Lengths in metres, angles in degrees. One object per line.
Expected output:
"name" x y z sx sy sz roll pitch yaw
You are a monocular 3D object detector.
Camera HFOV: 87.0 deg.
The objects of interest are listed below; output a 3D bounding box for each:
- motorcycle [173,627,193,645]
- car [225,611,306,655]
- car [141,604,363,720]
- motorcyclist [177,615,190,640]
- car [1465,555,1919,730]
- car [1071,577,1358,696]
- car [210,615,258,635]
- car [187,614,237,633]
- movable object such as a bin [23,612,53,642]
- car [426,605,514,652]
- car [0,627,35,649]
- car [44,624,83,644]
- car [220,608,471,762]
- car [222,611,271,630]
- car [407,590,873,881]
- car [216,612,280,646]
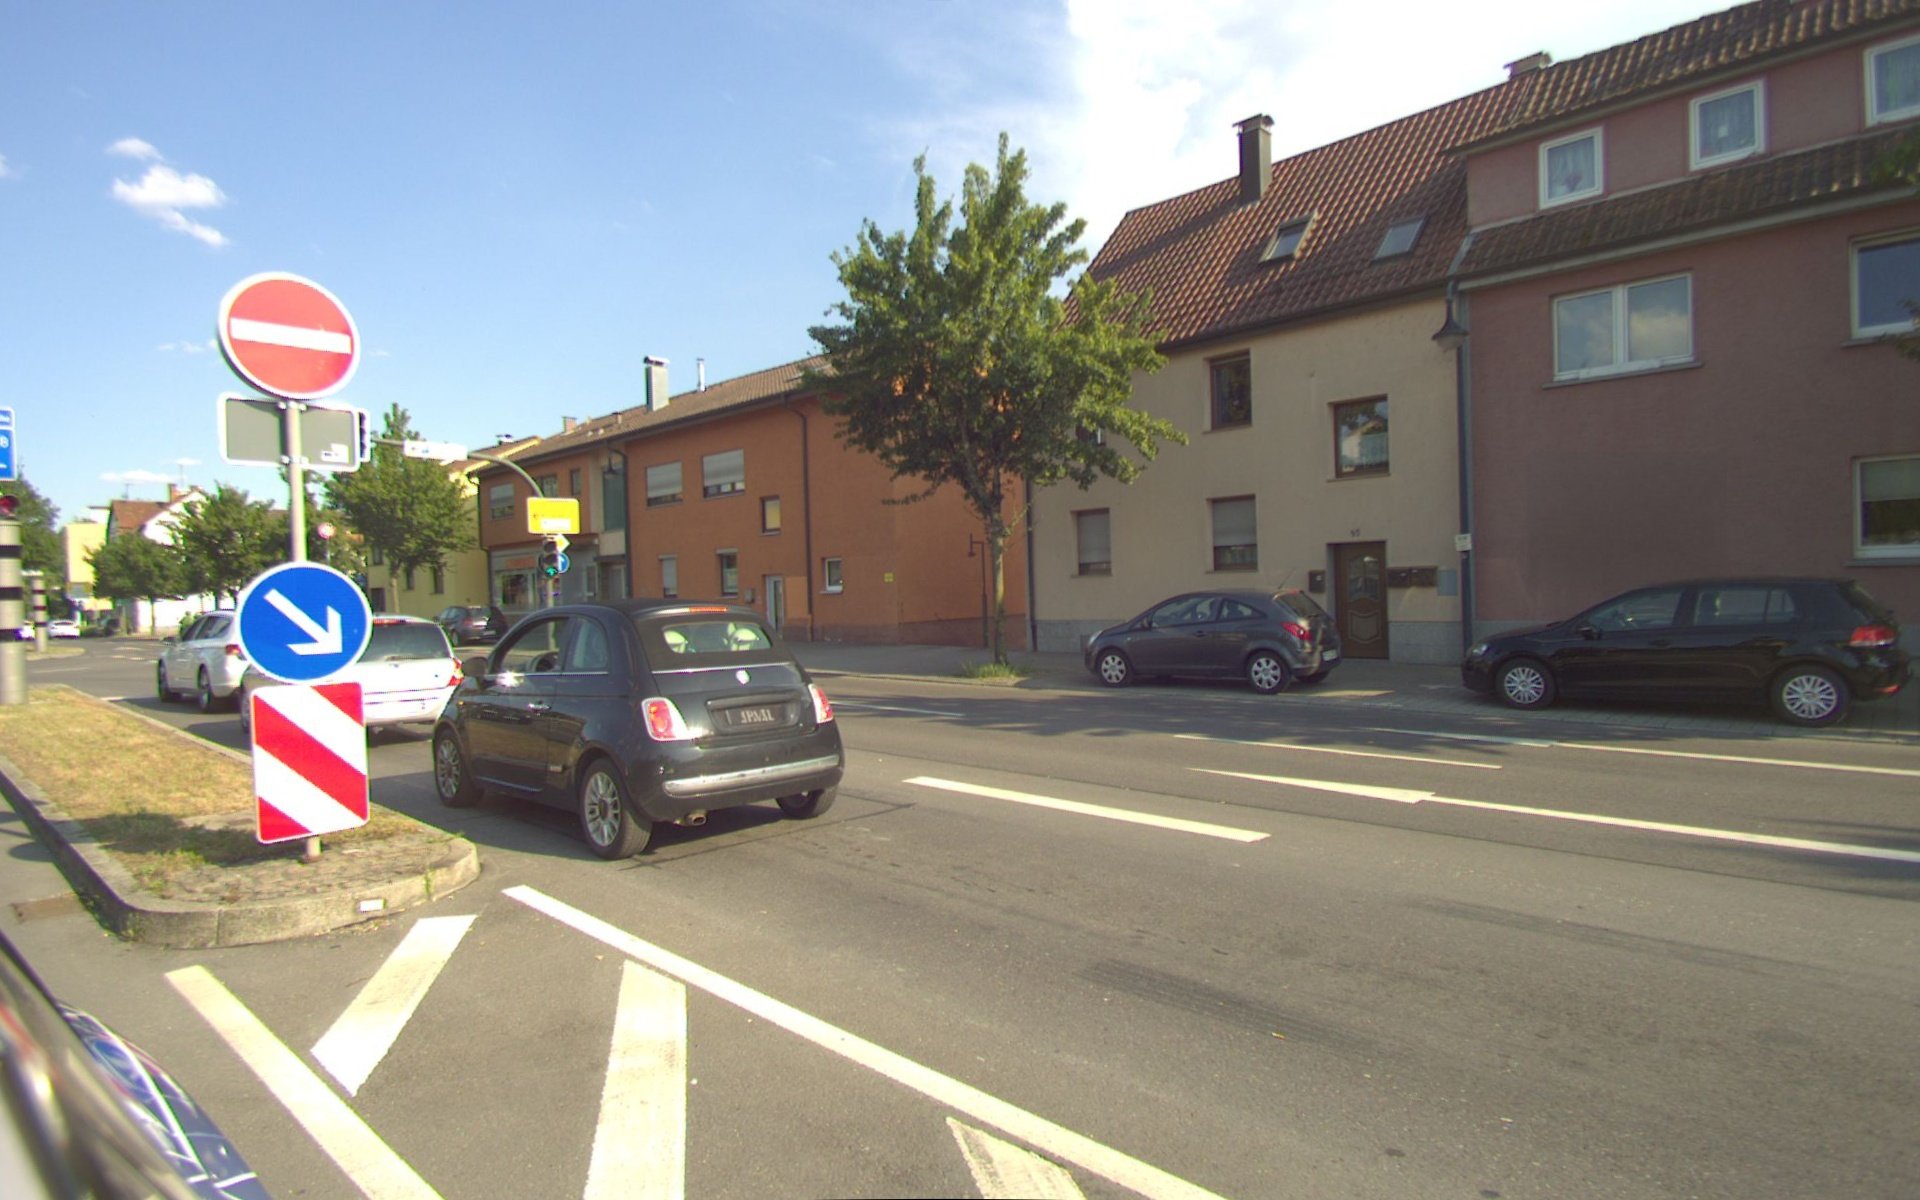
"motorcycle" -38.341 1.794 49.954 1.762 0.867 0.408 -2 0 41
"car" -27.948 1.301 40.679 4.412 1.624 1.668 -1 0 42
"car" -11.027 0.876 15.625 4.565 1.500 1.816 -2 0 42
"motorcyclist" -38.375 1.353 49.983 0.461 1.238 0.399 -2 0 39
"car" 7.972 0.393 11.210 1.647 1.543 3.905 -5 2 -44
"car" 3.728 0.514 15.220 3.884 1.521 1.496 -2 1 41
"car" -62.670 2.165 87.422 1.566 1.576 3.429 -2 0 3
"car" -65.067 2.029 88.141 1.836 1.638 3.410 0 -2 0
"movable object such as a bin" -79.015 2.302 86.724 4.978 2.480 1.535 -2 -1 43
"car" -17.273 0.995 35.585 1.574 1.449 3.777 -7 4 -44
"car" -64.343 2.559 68.777 3.998 1.422 1.739 -2 0 41
"car" -68.293 2.622 77.061 3.998 1.422 1.739 -2 0 41
"car" -7.024 0.829 11.426 3.579 1.438 1.571 -1 0 44
"car" -60.424 1.721 85.785 1.600 1.555 3.429 -2 -1 3
"car" -2.346 0.729 6.948 3.506 1.473 1.515 -2 0 43
"car" -36.243 1.472 51.484 4.461 1.607 1.834 -2 0 44
